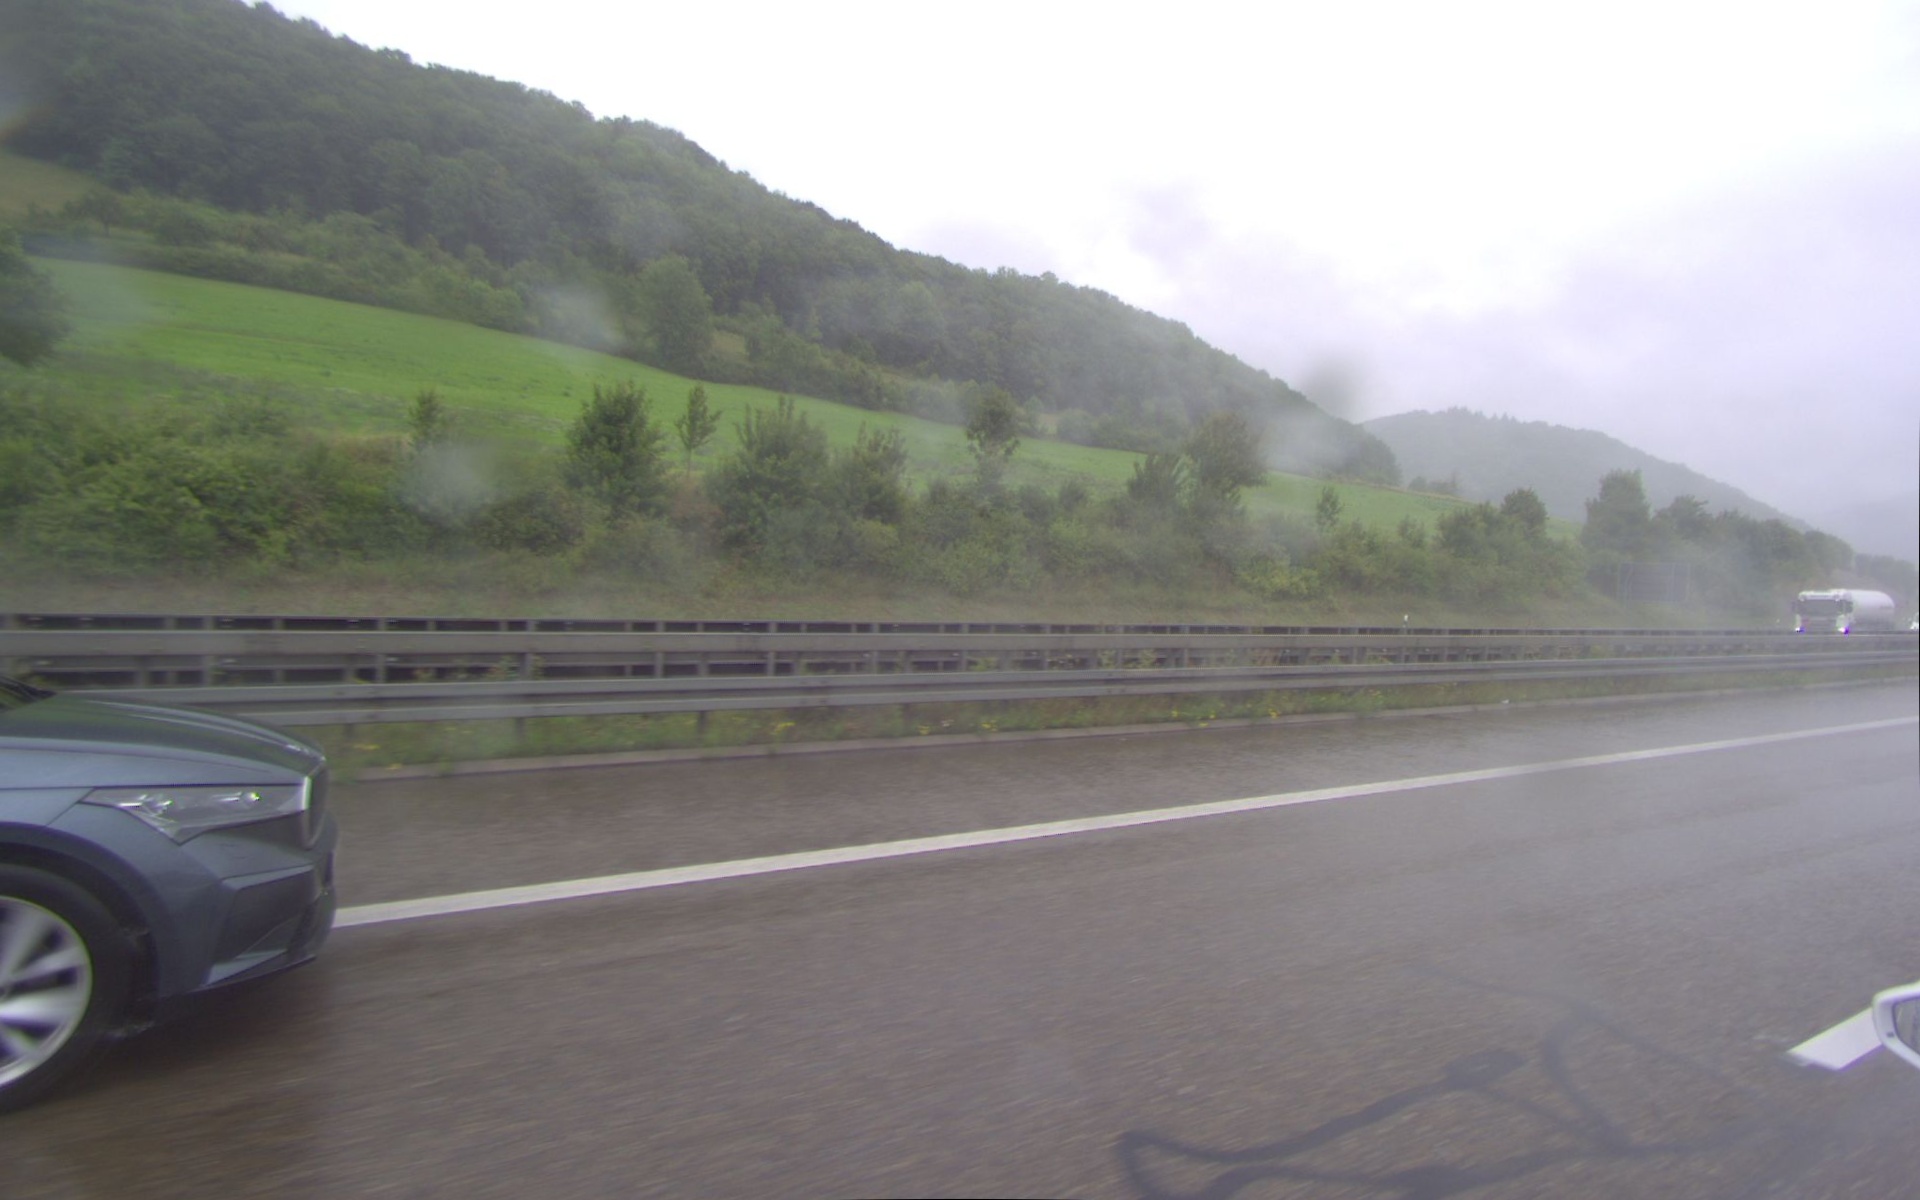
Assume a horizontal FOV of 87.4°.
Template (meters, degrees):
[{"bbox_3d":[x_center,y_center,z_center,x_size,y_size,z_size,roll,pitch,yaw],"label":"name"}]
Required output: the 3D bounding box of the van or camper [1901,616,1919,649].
[{"bbox_3d":[59.285,1.988,61.042,5.292,1.903,1.981,1,0,-35],"label":"van or camper"}]

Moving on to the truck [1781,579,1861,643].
[{"bbox_3d":[54.194,0.711,63.219,5.269,3.853,2.861,1,0,-38],"label":"truck"}]

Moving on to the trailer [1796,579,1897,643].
[{"bbox_3d":[59.631,0.776,67.419,12.457,3.954,2.910,1,0,-39],"label":"trailer"}]

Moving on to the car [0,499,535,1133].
[{"bbox_3d":[-4.029,0.555,3.006,4.852,1.705,1.984,2,-2,-30],"label":"car"}]
